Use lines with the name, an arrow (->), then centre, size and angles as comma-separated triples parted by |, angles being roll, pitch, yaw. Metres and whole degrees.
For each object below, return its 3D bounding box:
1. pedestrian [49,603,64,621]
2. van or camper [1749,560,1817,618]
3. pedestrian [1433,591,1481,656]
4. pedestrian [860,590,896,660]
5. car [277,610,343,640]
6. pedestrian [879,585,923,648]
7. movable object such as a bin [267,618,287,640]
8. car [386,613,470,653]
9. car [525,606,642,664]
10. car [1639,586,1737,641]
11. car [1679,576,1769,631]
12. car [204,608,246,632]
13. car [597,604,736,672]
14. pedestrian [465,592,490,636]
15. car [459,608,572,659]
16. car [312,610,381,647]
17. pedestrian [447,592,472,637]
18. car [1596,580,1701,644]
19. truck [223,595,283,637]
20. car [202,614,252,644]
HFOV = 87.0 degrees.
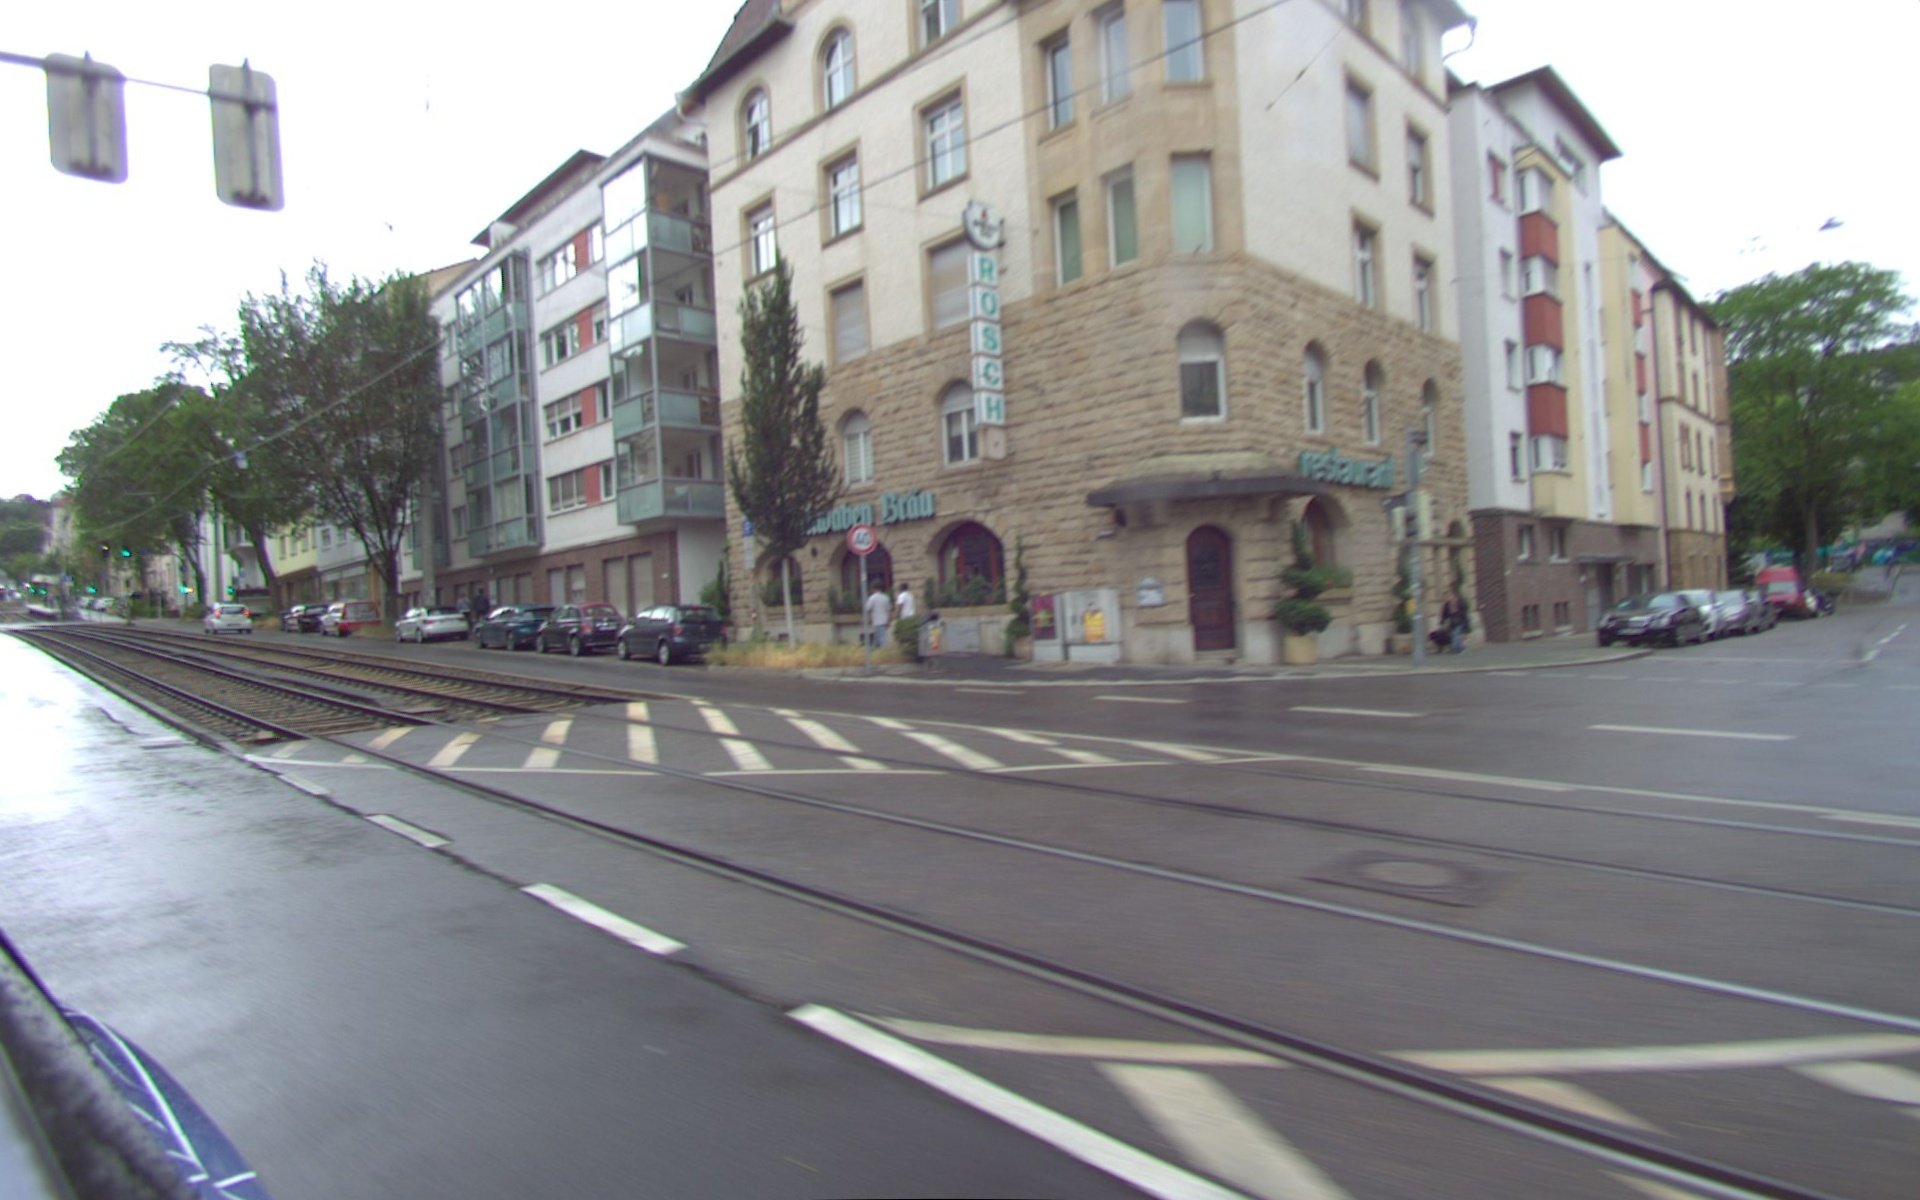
pedestrian -> -92.331, 1.197, 103.426 | 0.966, 1.796, 1.104 | -1, 0, 45
van or camper -> 37.165, -0.515, 45.650 | 1.937, 2.497, 4.676 | -2, 0, 44
pedestrian -> 11.239, 0.507, 22.864 | 0.807, 1.426, 0.722 | -1, 0, -42
pedestrian -> -1.876, 0.558, 23.051 | 0.511, 1.582, 0.644 | -1, 0, -43
car -> -33.675, 1.260, 52.361 | 4.471, 1.451, 1.885 | -1, 1, 44
pedestrian -> -1.383, 0.377, 23.570 | 0.745, 1.432, 0.646 | -2, 1, -44
movable object such as a bin -> -36.652, 1.542, 54.296 | 0.671, 1.130, 0.717 | -1, 0, 39
car -> -20.601, 1.237, 39.135 | 1.683, 1.345, 4.133 | -5, 3, -44
car -> -10.976, 0.992, 29.403 | 3.527, 1.509, 1.787 | -1, 1, 44
car -> 21.413, 0.376, 29.708 | 1.818, 1.493, 3.943 | -2, -1, 43
car -> 24.649, 0.090, 32.593 | 1.792, 1.630, 3.942 | -2, 0, 44
car -> -50.674, 1.368, 69.746 | 1.685, 1.471, 4.363 | -4, 2, -45
car -> -7.583, 0.929, 25.985 | 3.896, 1.564, 1.745 | -1, 1, 45
pedestrian -> -19.917, 0.576, 41.759 | 0.665, 1.785, 0.783 | -2, 1, -45
car -> -14.421, 1.069, 32.730 | 4.432, 1.465, 1.781 | -2, 1, 44
car -> -28.610, 1.285, 47.157 | 4.160, 1.581, 1.756 | -1, 1, 44
pedestrian -> -20.407, 0.585, 41.280 | 0.665, 1.785, 0.783 | -2, 1, -45
car -> 17.419, 0.281, 25.541 | 1.719, 1.503, 3.946 | -2, -1, 41
truck -> -43.664, 0.935, 62.443 | 2.166, 2.363, 6.359 | -1, 1, -43
car -> -38.064, 1.478, 52.550 | 1.608, 1.493, 3.583 | -2, 1, -44
